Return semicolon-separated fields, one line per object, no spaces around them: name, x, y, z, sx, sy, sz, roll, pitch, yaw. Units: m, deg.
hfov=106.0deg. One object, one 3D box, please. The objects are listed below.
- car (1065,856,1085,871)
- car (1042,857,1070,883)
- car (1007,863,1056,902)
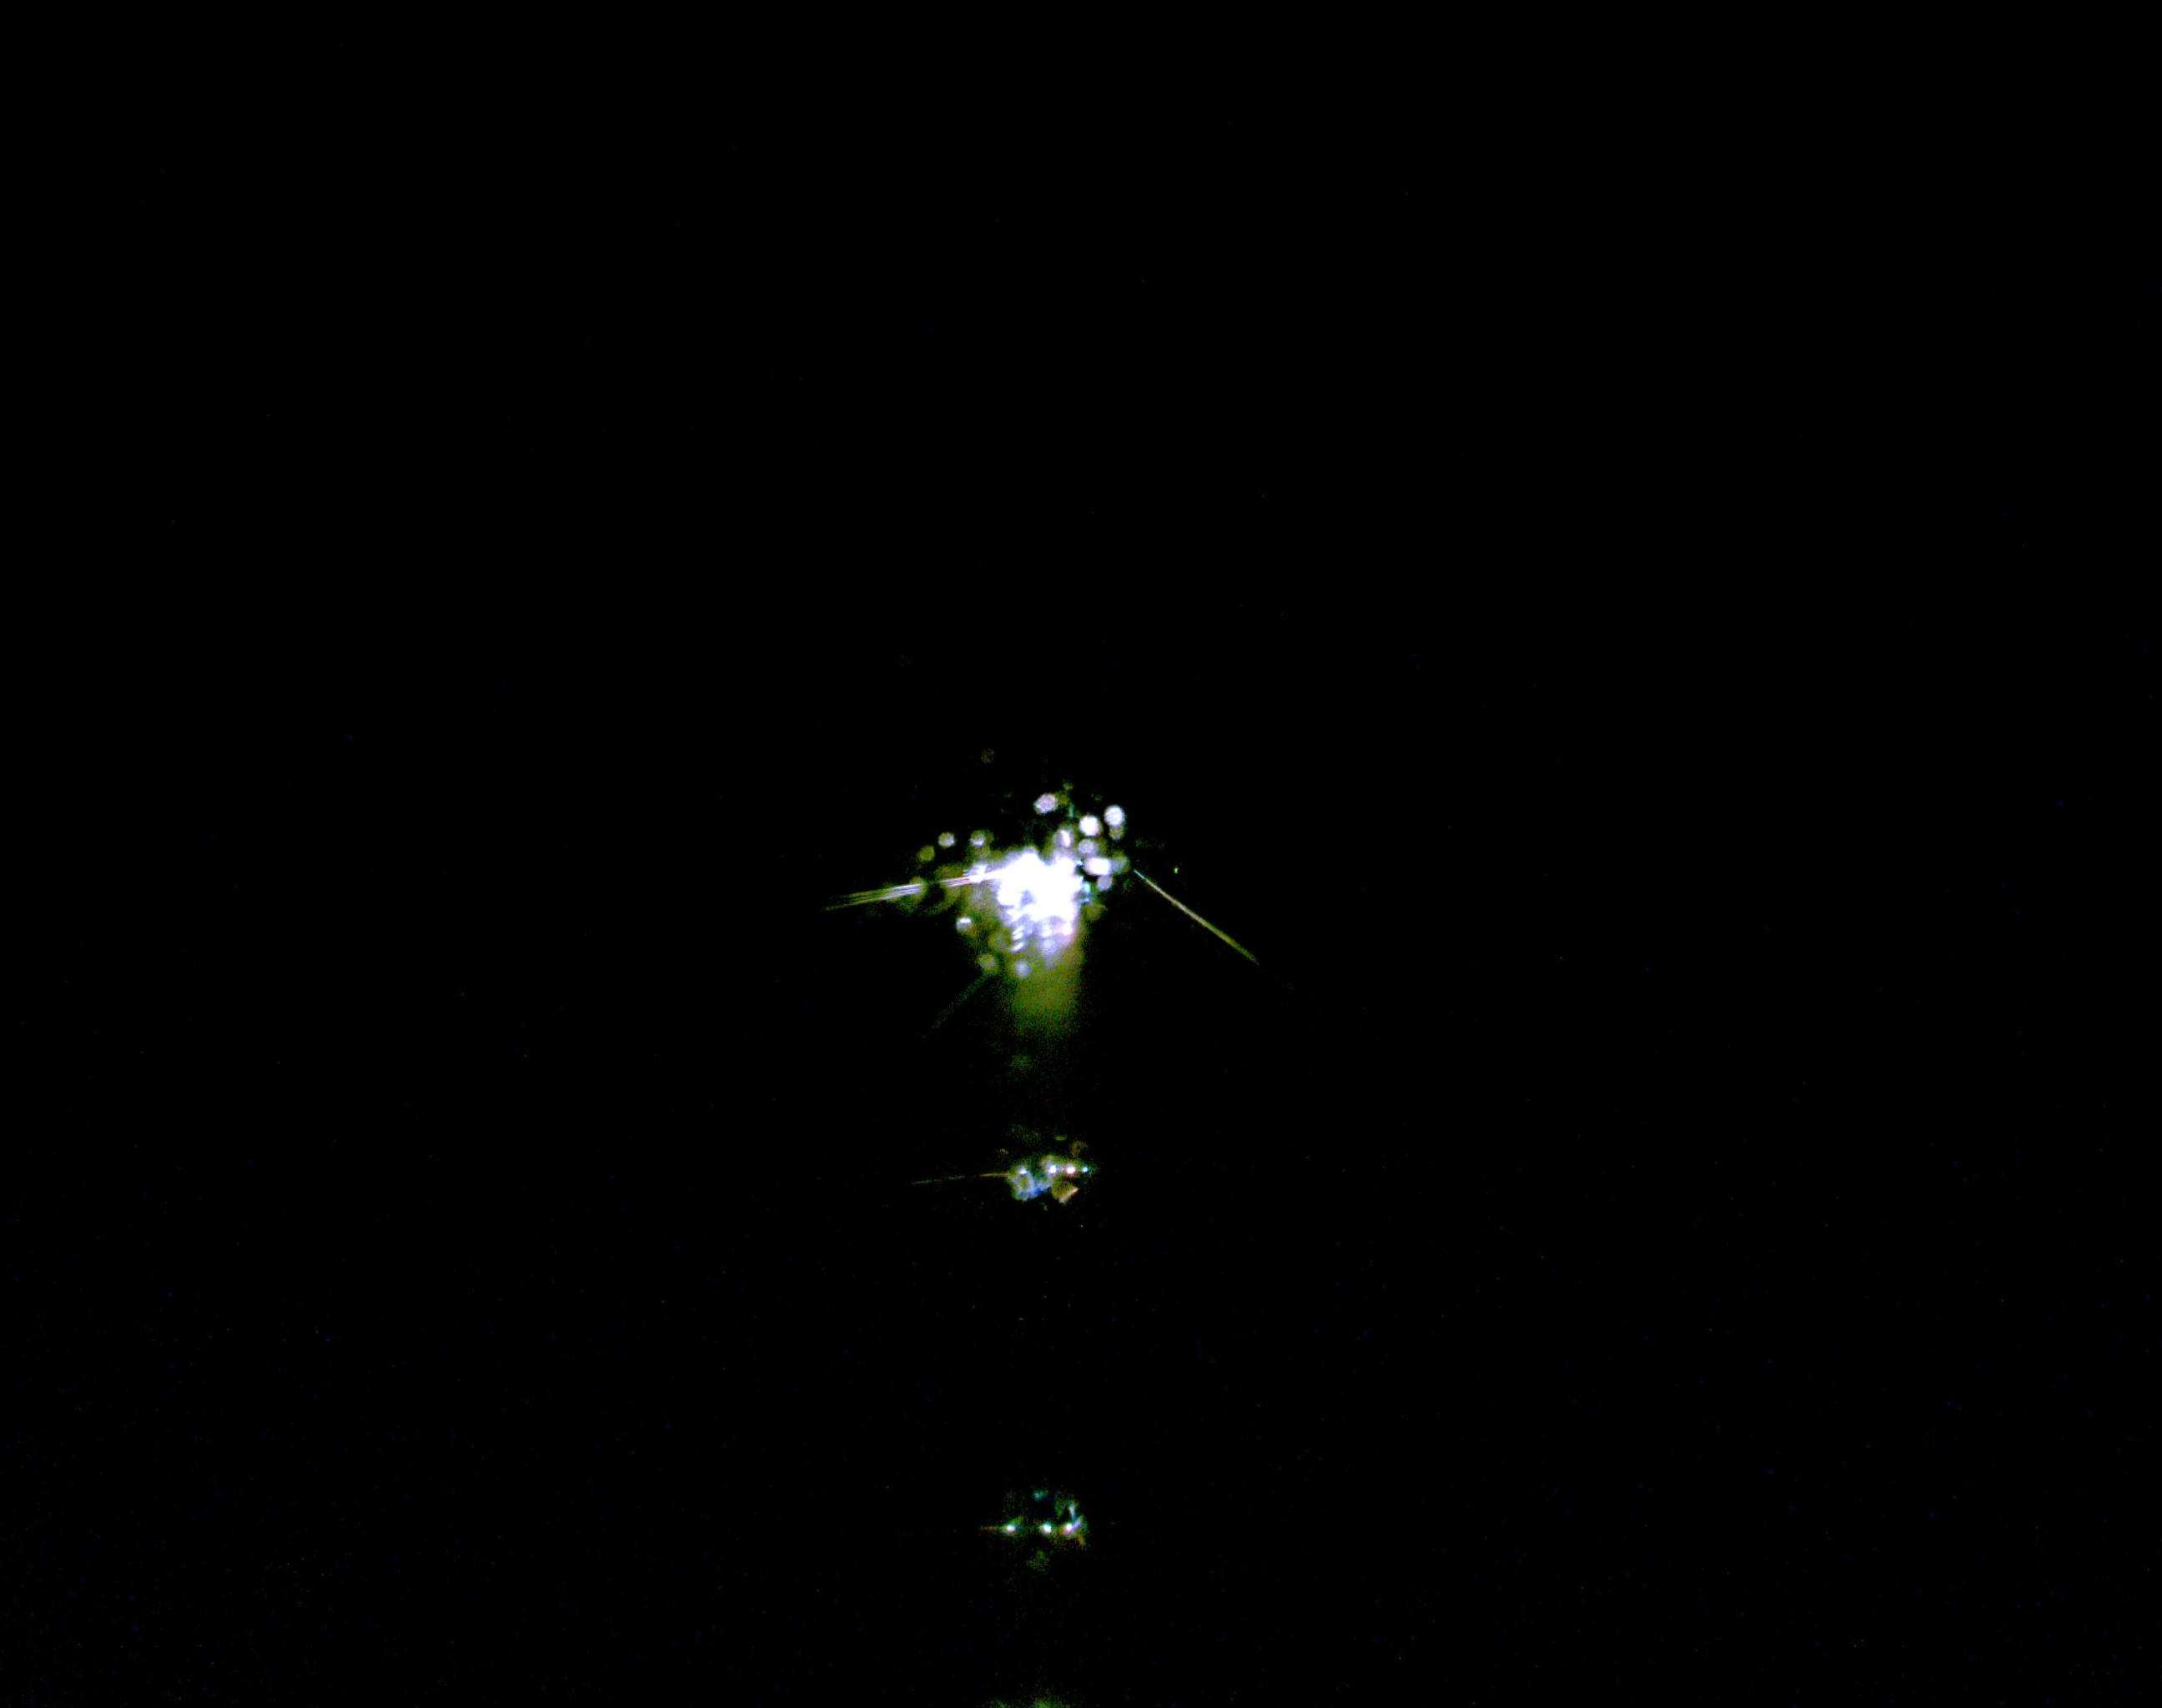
car;-0.592;0.999;84.163;1.830;1.471;4.392;-1;-1;1
car;-1.818;1.116;58.544;1.927;1.587;3.997;-3;1;-3
car;-2.201;1.260;37.044;1.822;1.456;3.794;-3;1;1
